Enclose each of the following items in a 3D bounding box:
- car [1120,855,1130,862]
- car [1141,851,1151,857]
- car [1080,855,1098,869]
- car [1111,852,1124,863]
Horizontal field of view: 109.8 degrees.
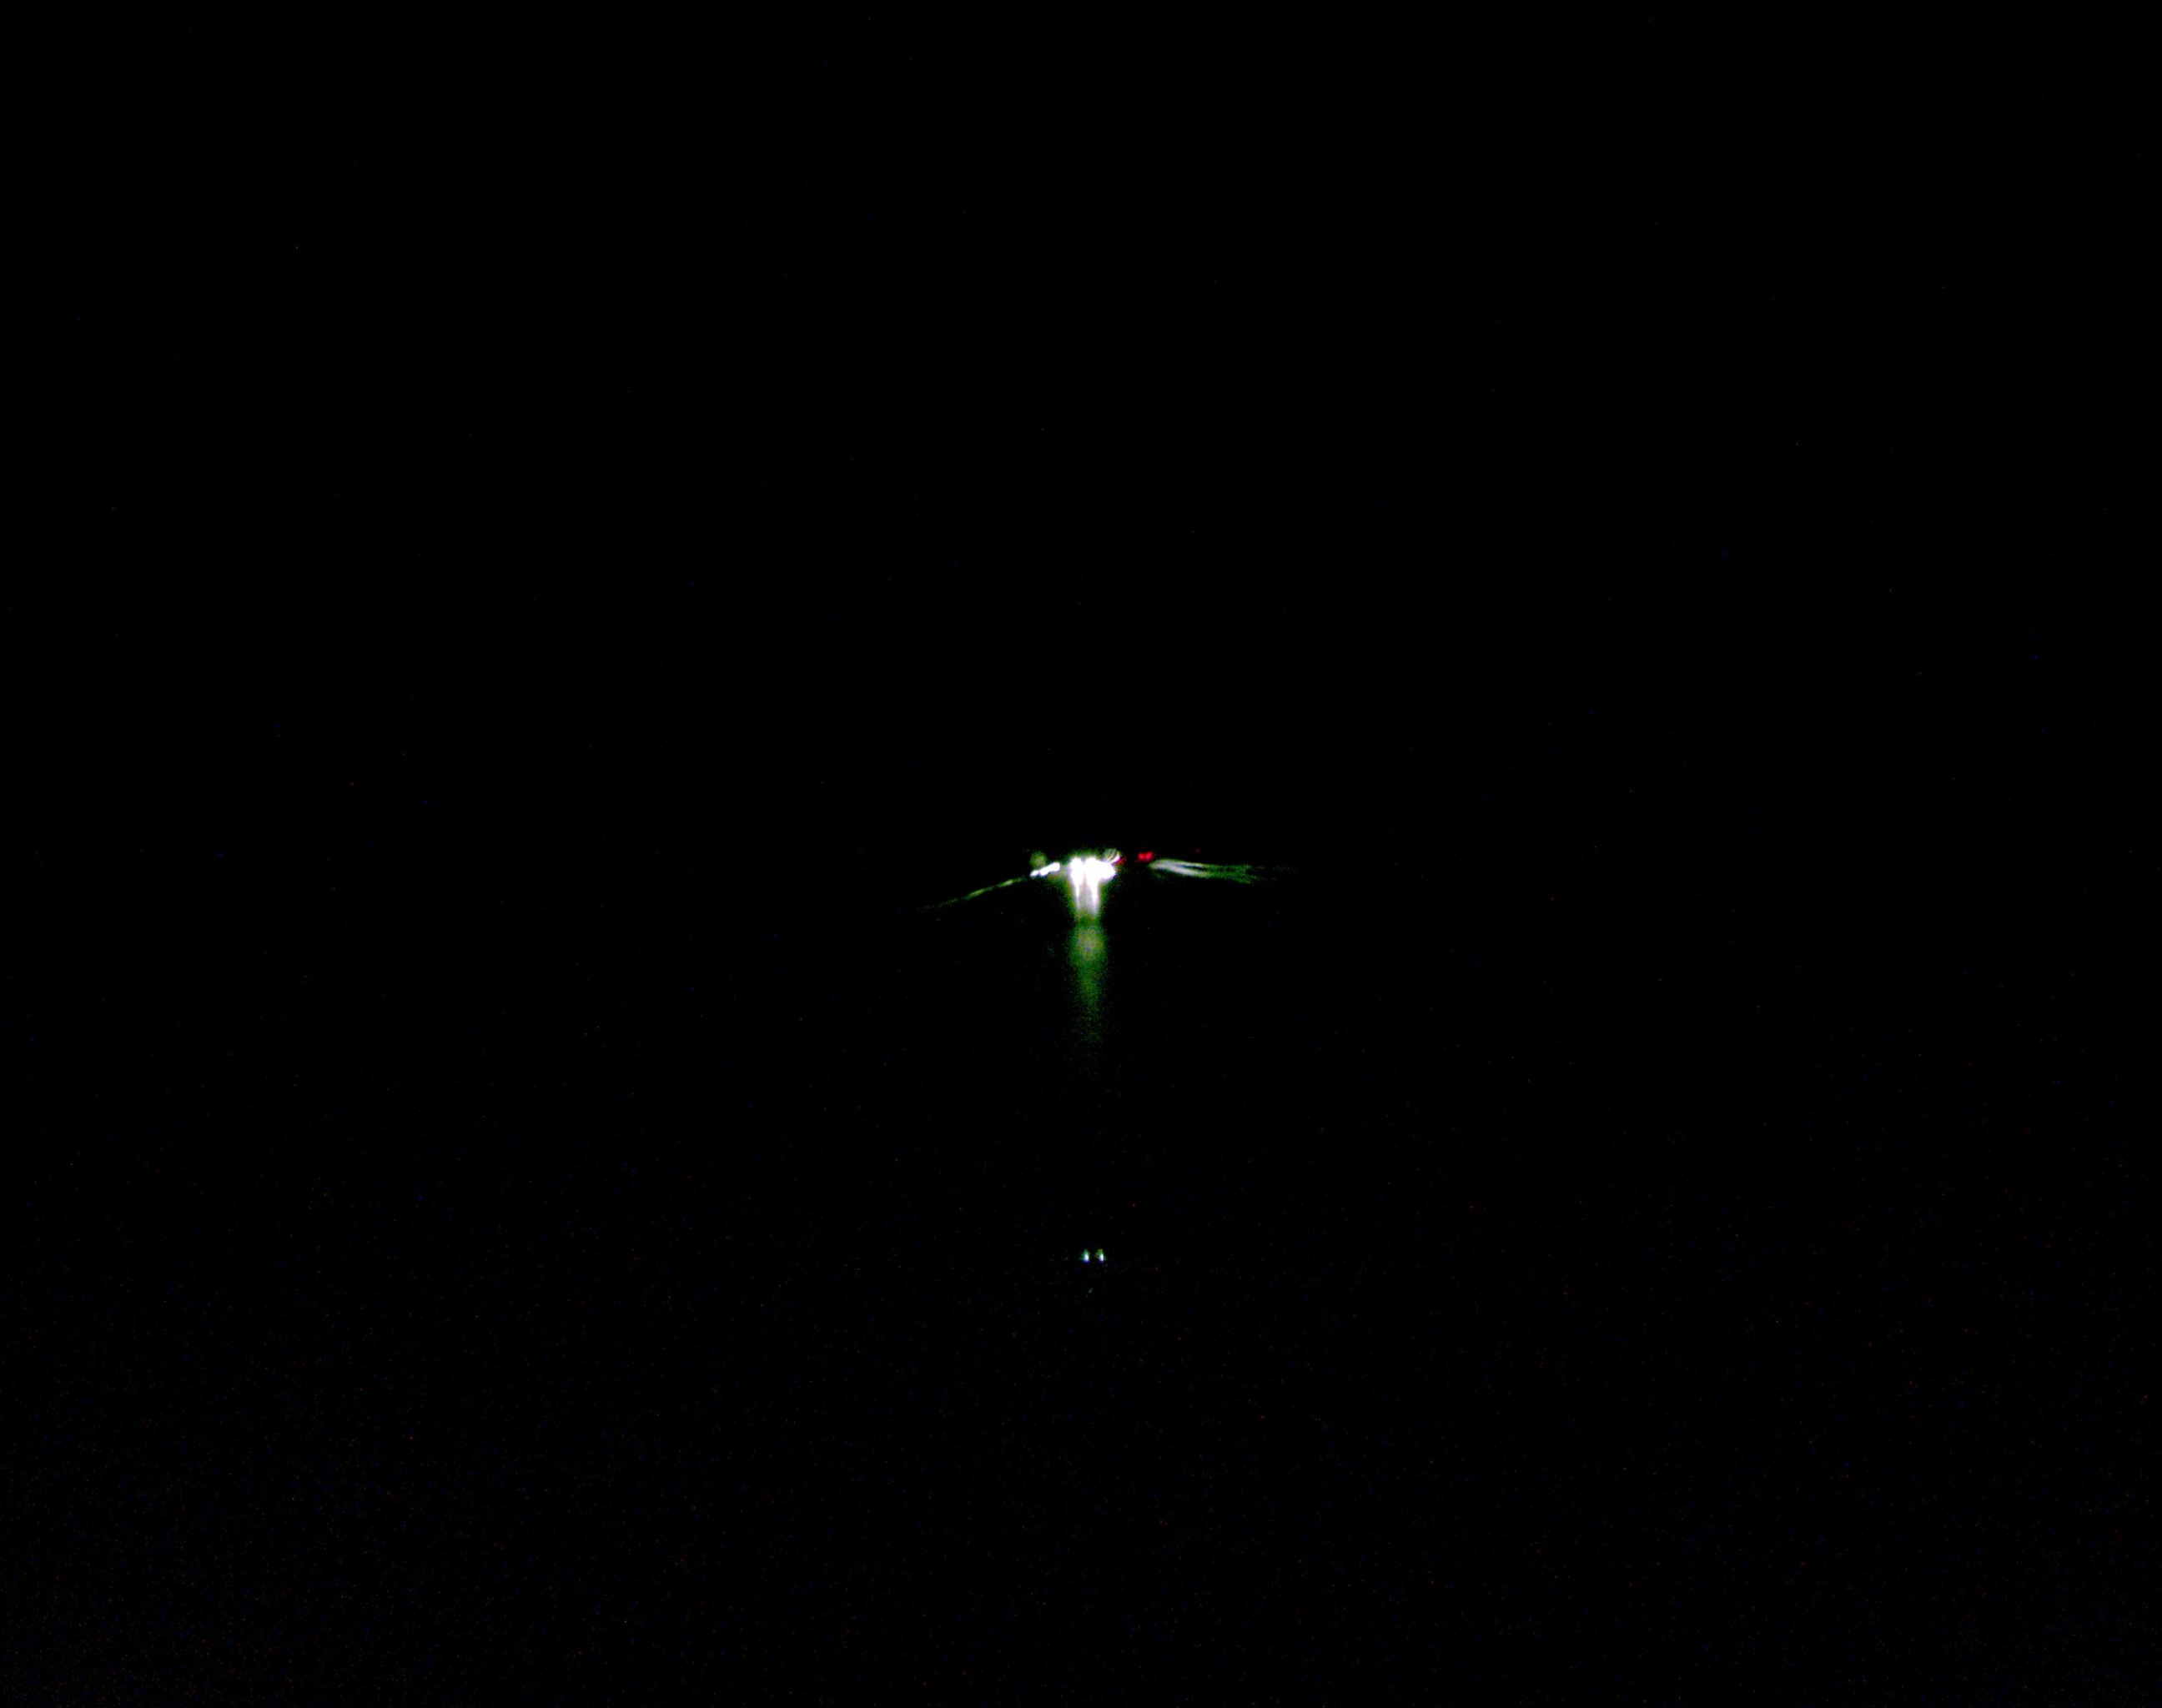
[{"bbox_3d":[8.948,0.966,153.205,1.809,1.331,4.190,-2,0,7],"label":"car"},{"bbox_3d":[15.956,0.056,186.078,1.997,1.463,3.840,-2,0,11],"label":"car"},{"bbox_3d":[0.900,0.838,81.807,1.807,1.452,4.276,-2,0,2],"label":"car"},{"bbox_3d":[5.349,0.508,112.483,1.838,1.536,4.646,-2,0,3],"label":"car"}]
